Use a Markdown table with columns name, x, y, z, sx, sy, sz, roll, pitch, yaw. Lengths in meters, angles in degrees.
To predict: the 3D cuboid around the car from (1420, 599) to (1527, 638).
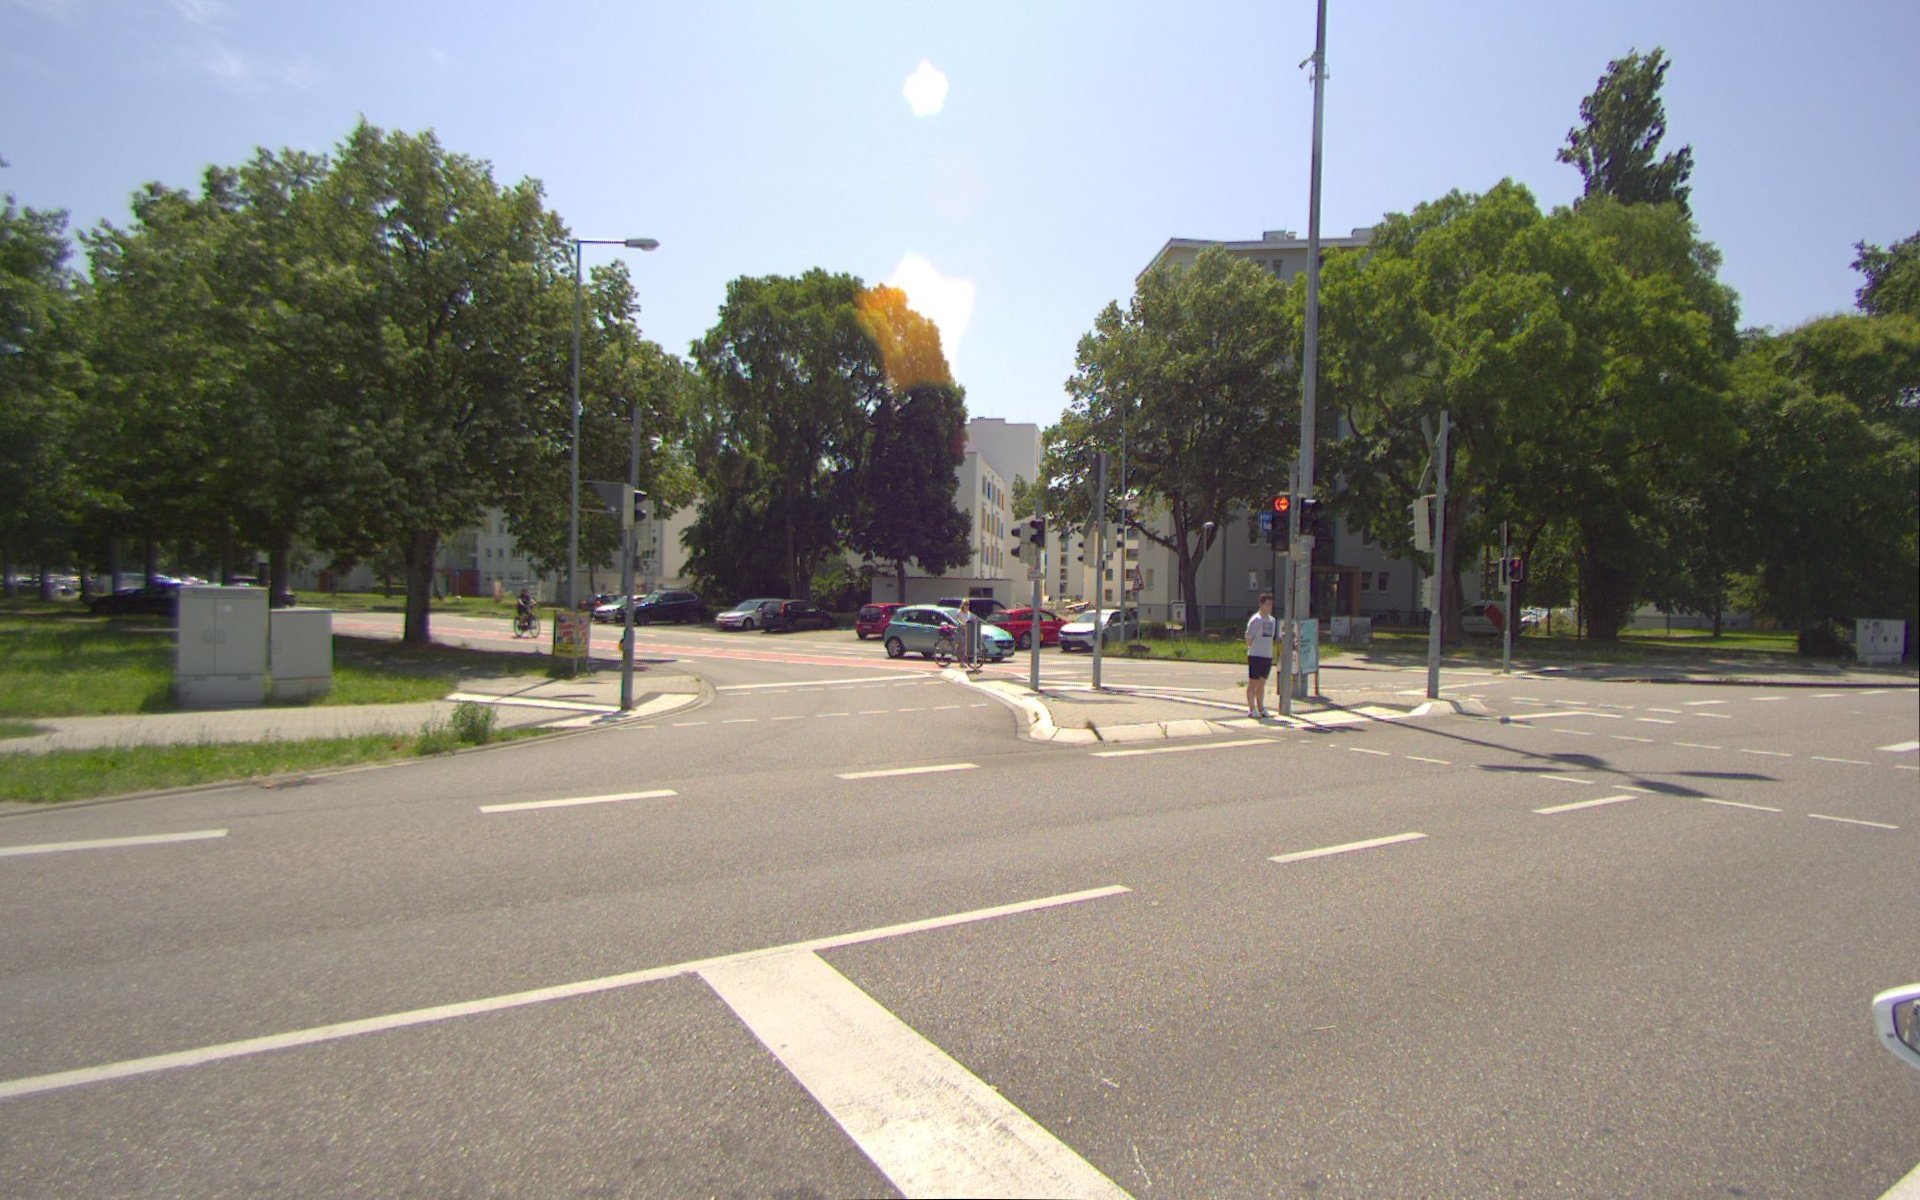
| name | x | y | z | sx | sy | sz | roll | pitch | yaw |
| --- | --- | --- | --- | --- | --- | --- | --- | --- | --- |
| car | 25.959 | 0.912 | 50.903 | 4.456 | 1.791 | 1.793 | 1 | 0 | 10 |

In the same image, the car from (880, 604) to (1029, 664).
| name | x | y | z | sx | sy | sz | roll | pitch | yaw |
| --- | --- | --- | --- | --- | --- | --- | --- | --- | --- |
| car | -0.183 | 0.908 | 28.101 | 3.834 | 1.488 | 1.769 | 1 | 0 | 36 |

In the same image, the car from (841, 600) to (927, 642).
| name | x | y | z | sx | sy | sz | roll | pitch | yaw |
| --- | --- | --- | --- | --- | --- | --- | --- | --- | --- |
| car | -3.246 | 0.887 | 43.688 | 1.819 | 1.690 | 3.993 | 1 | 0 | 29 |

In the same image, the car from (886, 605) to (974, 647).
| name | x | y | z | sx | sy | sz | roll | pitch | yaw |
| --- | --- | --- | --- | --- | --- | --- | --- | --- | --- |
| car | -1.213 | 1.030 | 42.009 | 1.680 | 1.613 | 3.989 | 3 | 1 | 33 |

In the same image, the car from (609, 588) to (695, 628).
| name | x | y | z | sx | sy | sz | roll | pitch | yaw |
| --- | --- | --- | --- | --- | --- | --- | --- | --- | --- |
| car | -16.165 | 0.401 | 52.854 | 1.822 | 1.974 | 3.984 | 3 | 1 | 37 |

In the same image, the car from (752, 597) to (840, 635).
| name | x | y | z | sx | sy | sz | roll | pitch | yaw |
| --- | --- | --- | --- | --- | --- | --- | --- | --- | --- |
| car | -7.770 | 0.754 | 47.917 | 1.823 | 1.734 | 3.985 | 1 | 0 | 37 |

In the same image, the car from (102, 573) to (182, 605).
| name | x | y | z | sx | sy | sz | roll | pitch | yaw |
| --- | --- | --- | --- | --- | --- | --- | --- | --- | --- |
| car | -56.374 | -0.755 | 69.253 | 1.969 | 2.041 | 3.982 | 6 | 3 | 39 |

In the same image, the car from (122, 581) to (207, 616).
| name | x | y | z | sx | sy | sz | roll | pitch | yaw |
| --- | --- | --- | --- | --- | --- | --- | --- | --- | --- |
| car | -51.823 | -0.102 | 65.475 | 1.969 | 2.041 | 3.982 | 6 | 3 | 39 |

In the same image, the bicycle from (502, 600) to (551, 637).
| name | x | y | z | sx | sy | sz | roll | pitch | yaw |
| --- | --- | --- | --- | --- | --- | --- | --- | --- | --- |
| bicycle | -16.135 | 0.676 | 37.373 | 2.028 | 1.317 | 0.770 | 1 | 0 | 38 |

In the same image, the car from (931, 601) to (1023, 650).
| name | x | y | z | sx | sy | sz | roll | pitch | yaw |
| --- | --- | --- | --- | --- | --- | --- | --- | --- | --- |
| car | 0.723 | 1.004 | 40.743 | 1.682 | 1.825 | 3.984 | 3 | 1 | 37 |

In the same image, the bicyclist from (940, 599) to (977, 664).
| name | x | y | z | sx | sy | sz | roll | pitch | yaw |
| --- | --- | --- | --- | --- | --- | --- | --- | --- | --- |
| bicyclist | -0.033 | 0.770 | 24.784 | 0.655 | 1.557 | 0.629 | 1 | 0 | 37 |

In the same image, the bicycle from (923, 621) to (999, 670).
| name | x | y | z | sx | sy | sz | roll | pitch | yaw |
| --- | --- | --- | --- | --- | --- | --- | --- | --- | --- |
| bicycle | 0.011 | 1.100 | 24.744 | 1.840 | 1.108 | 0.644 | 1 | 0 | 38 |

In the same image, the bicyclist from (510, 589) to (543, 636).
| name | x | y | z | sx | sy | sz | roll | pitch | yaw |
| --- | --- | --- | --- | --- | --- | --- | --- | --- | --- |
| bicyclist | -16.151 | 0.473 | 37.400 | 0.883 | 1.715 | 0.770 | 1 | 1 | 37 |

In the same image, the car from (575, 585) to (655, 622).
| name | x | y | z | sx | sy | sz | roll | pitch | yaw |
| --- | --- | --- | --- | --- | --- | --- | --- | --- | --- |
| car | -19.728 | 0.207 | 57.486 | 1.822 | 1.974 | 3.984 | 3 | 1 | 37 |

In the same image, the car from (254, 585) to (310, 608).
| name | x | y | z | sx | sy | sz | roll | pitch | yaw |
| --- | --- | --- | --- | --- | --- | --- | --- | --- | --- |
| car | -48.849 | -0.252 | 72.387 | 4.554 | 1.519 | 1.906 | 1 | 0 | 36 |

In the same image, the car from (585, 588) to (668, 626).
| name | x | y | z | sx | sy | sz | roll | pitch | yaw |
| --- | --- | --- | --- | --- | --- | --- | --- | --- | --- |
| car | -18.221 | 0.368 | 55.053 | 1.822 | 1.974 | 3.984 | 3 | 1 | 37 |

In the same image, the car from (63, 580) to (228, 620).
| name | x | y | z | sx | sy | sz | roll | pitch | yaw |
| --- | --- | --- | --- | --- | --- | --- | --- | --- | --- |
| car | -31.280 | 0.006 | 38.721 | 4.505 | 1.487 | 1.995 | 0 | 0 | -13 |

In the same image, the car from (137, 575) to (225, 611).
| name | x | y | z | sx | sy | sz | roll | pitch | yaw |
| --- | --- | --- | --- | --- | --- | --- | --- | --- | --- |
| car | -48.675 | -0.413 | 62.819 | 1.970 | 2.041 | 3.981 | 6 | 3 | 40 |

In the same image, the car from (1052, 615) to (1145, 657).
| name | x | y | z | sx | sy | sz | roll | pitch | yaw |
| --- | --- | --- | --- | --- | --- | --- | --- | --- | --- |
| car | 5.167 | 1.283 | 37.127 | 1.604 | 1.399 | 3.983 | 3 | 1 | 38 |

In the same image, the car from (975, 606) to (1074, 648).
| name | x | y | z | sx | sy | sz | roll | pitch | yaw |
| --- | --- | --- | --- | --- | --- | --- | --- | --- | --- |
| car | 2.521 | 1.013 | 38.705 | 1.600 | 1.483 | 3.976 | 3 | 1 | 43 |

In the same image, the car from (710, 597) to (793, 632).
| name | x | y | z | sx | sy | sz | roll | pitch | yaw |
| --- | --- | --- | --- | --- | --- | --- | --- | --- | --- |
| car | -10.139 | 0.704 | 49.016 | 1.667 | 1.583 | 3.823 | 1 | 0 | 37 |

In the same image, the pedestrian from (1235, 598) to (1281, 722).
| name | x | y | z | sx | sy | sz | roll | pitch | yaw |
| --- | --- | --- | --- | --- | --- | --- | --- | --- | --- |
| pedestrian | 4.200 | 0.829 | 14.170 | 0.481 | 1.710 | 0.380 | 1 | 1 | -34 |
